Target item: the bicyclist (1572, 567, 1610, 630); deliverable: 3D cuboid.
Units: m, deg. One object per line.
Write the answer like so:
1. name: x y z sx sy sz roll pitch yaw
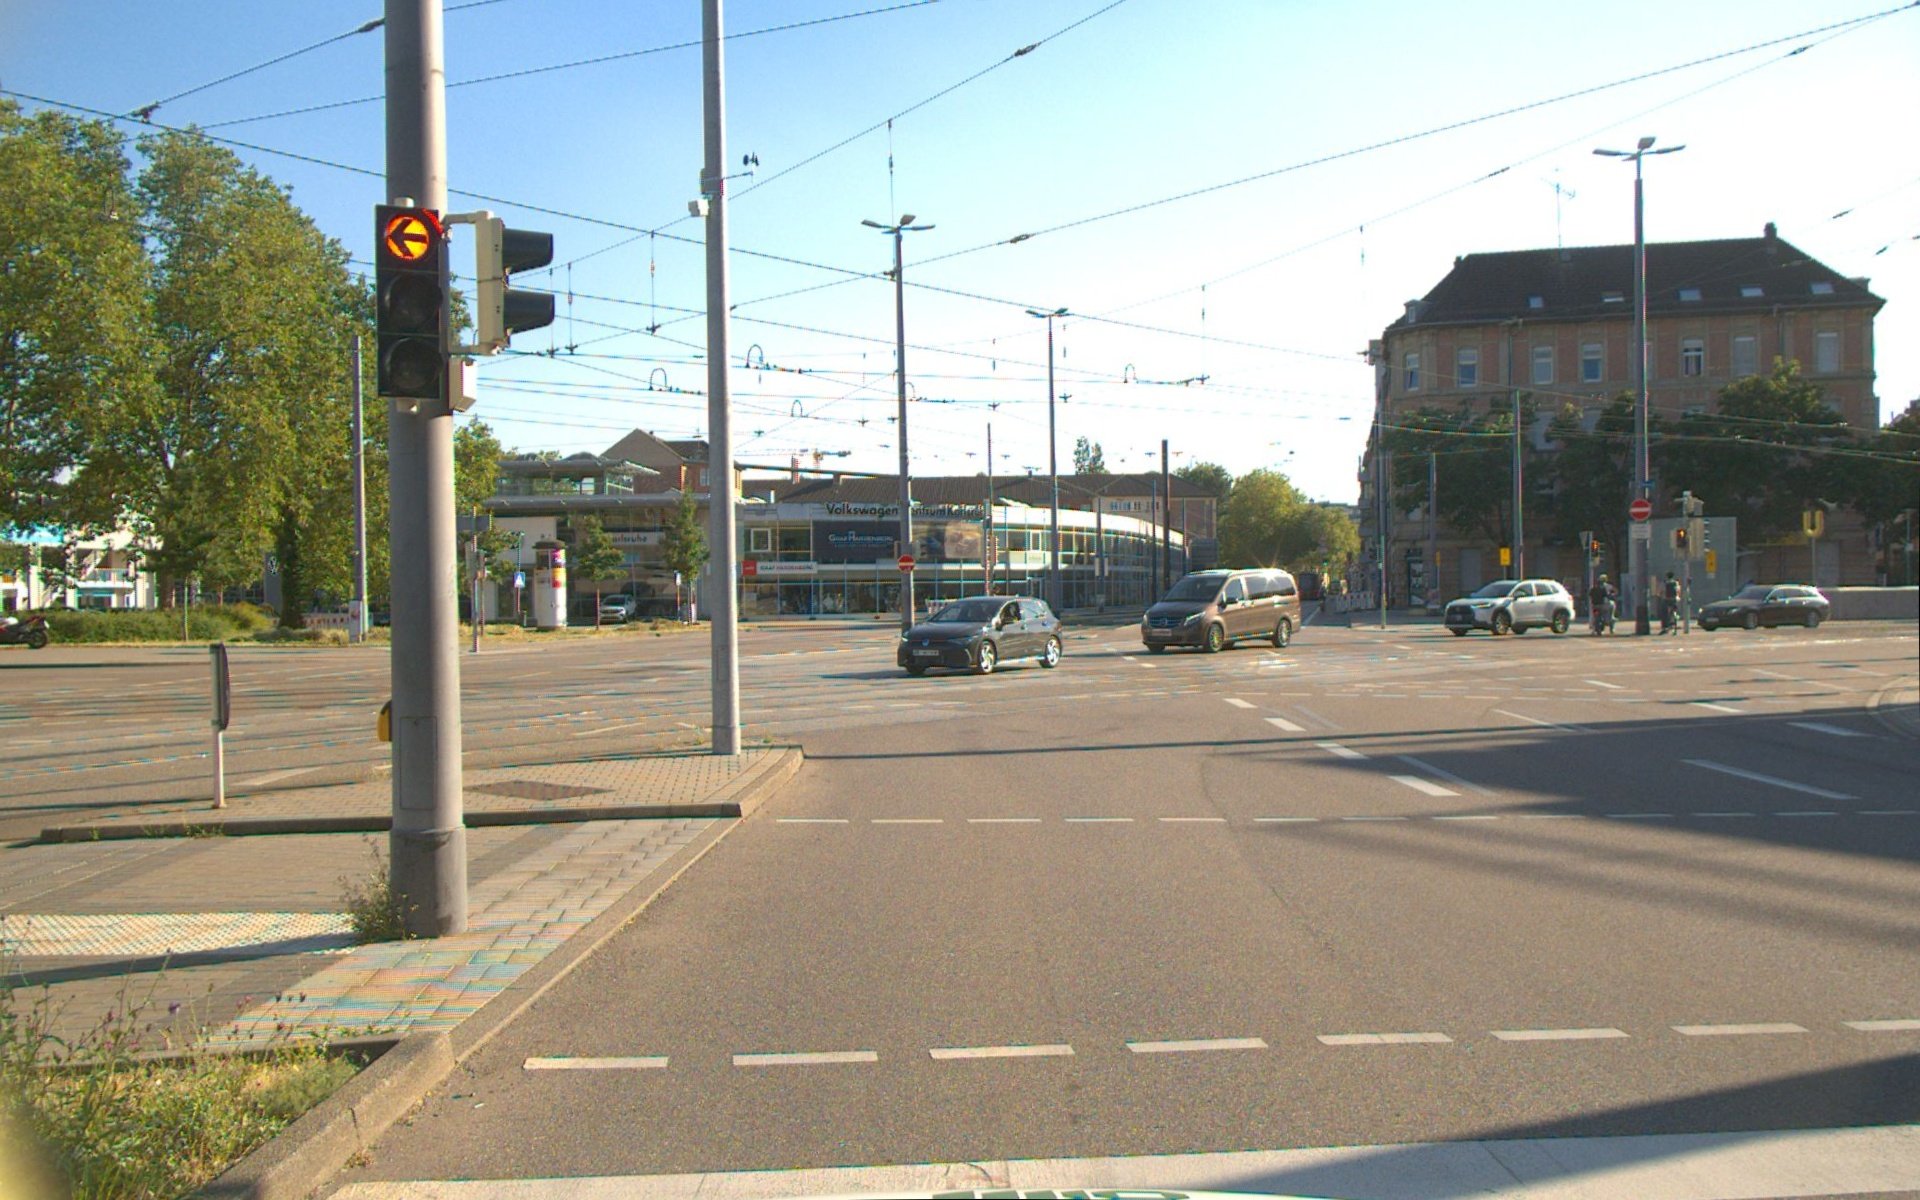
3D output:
1. bicyclist: 18.485 -0.046 48.465 0.577 1.809 0.858 -1 0 -31

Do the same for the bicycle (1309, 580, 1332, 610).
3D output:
1. bicycle: 22.094 -0.314 101.270 1.111 1.719 4.003 1 2 16

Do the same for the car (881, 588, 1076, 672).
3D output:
1. car: 0.434 0.551 32.455 1.913 1.512 4.090 -1 0 34

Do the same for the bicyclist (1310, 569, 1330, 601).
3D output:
1. bicyclist: 22.098 -0.900 101.510 1.095 1.933 1.074 1 2 17

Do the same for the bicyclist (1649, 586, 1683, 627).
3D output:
1. bicyclist: 20.837 0.186 48.810 0.839 1.197 0.715 1 2 18

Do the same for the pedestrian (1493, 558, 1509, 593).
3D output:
1. pedestrian: 21.033 -0.948 64.338 0.414 1.363 0.600 -1 0 -1

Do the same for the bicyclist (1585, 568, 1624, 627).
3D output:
1. bicyclist: 19.016 -0.089 48.811 0.643 1.720 0.851 -1 2 -32

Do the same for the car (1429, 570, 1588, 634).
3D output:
1. car: 16.618 0.037 50.040 4.786 1.830 1.933 -1 0 -31

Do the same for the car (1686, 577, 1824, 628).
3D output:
1. car: 26.713 0.064 55.572 4.288 1.590 1.937 -1 2 -25

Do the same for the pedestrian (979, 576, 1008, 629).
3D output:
1. pedestrian: 1.166 0.067 58.536 0.969 1.848 0.920 0 2 -3

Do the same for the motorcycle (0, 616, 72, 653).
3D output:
1. motorcycle: -28.230 1.047 50.075 2.246 1.072 0.685 0 2 -14

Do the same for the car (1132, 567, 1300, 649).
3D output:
1. car: 6.424 0.163 41.157 1.917 1.926 4.825 -1 0 40

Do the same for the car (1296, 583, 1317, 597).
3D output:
1. car: 43.488 -1.279 207.713 1.765 1.684 3.917 0 2 -2

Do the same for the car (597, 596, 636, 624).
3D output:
1. car: -20.825 0.586 100.424 1.955 1.561 3.995 0 2 -6

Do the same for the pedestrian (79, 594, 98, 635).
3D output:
1. pedestrian: -44.267 0.722 84.019 0.576 2.049 0.710 -1 0 -1

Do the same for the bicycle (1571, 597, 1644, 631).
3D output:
1. bicycle: 19.154 0.400 48.897 2.274 0.921 0.851 -1 2 -32

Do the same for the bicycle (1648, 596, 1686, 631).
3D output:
1. bicycle: 20.810 0.393 48.728 0.839 0.921 2.305 1 2 19
